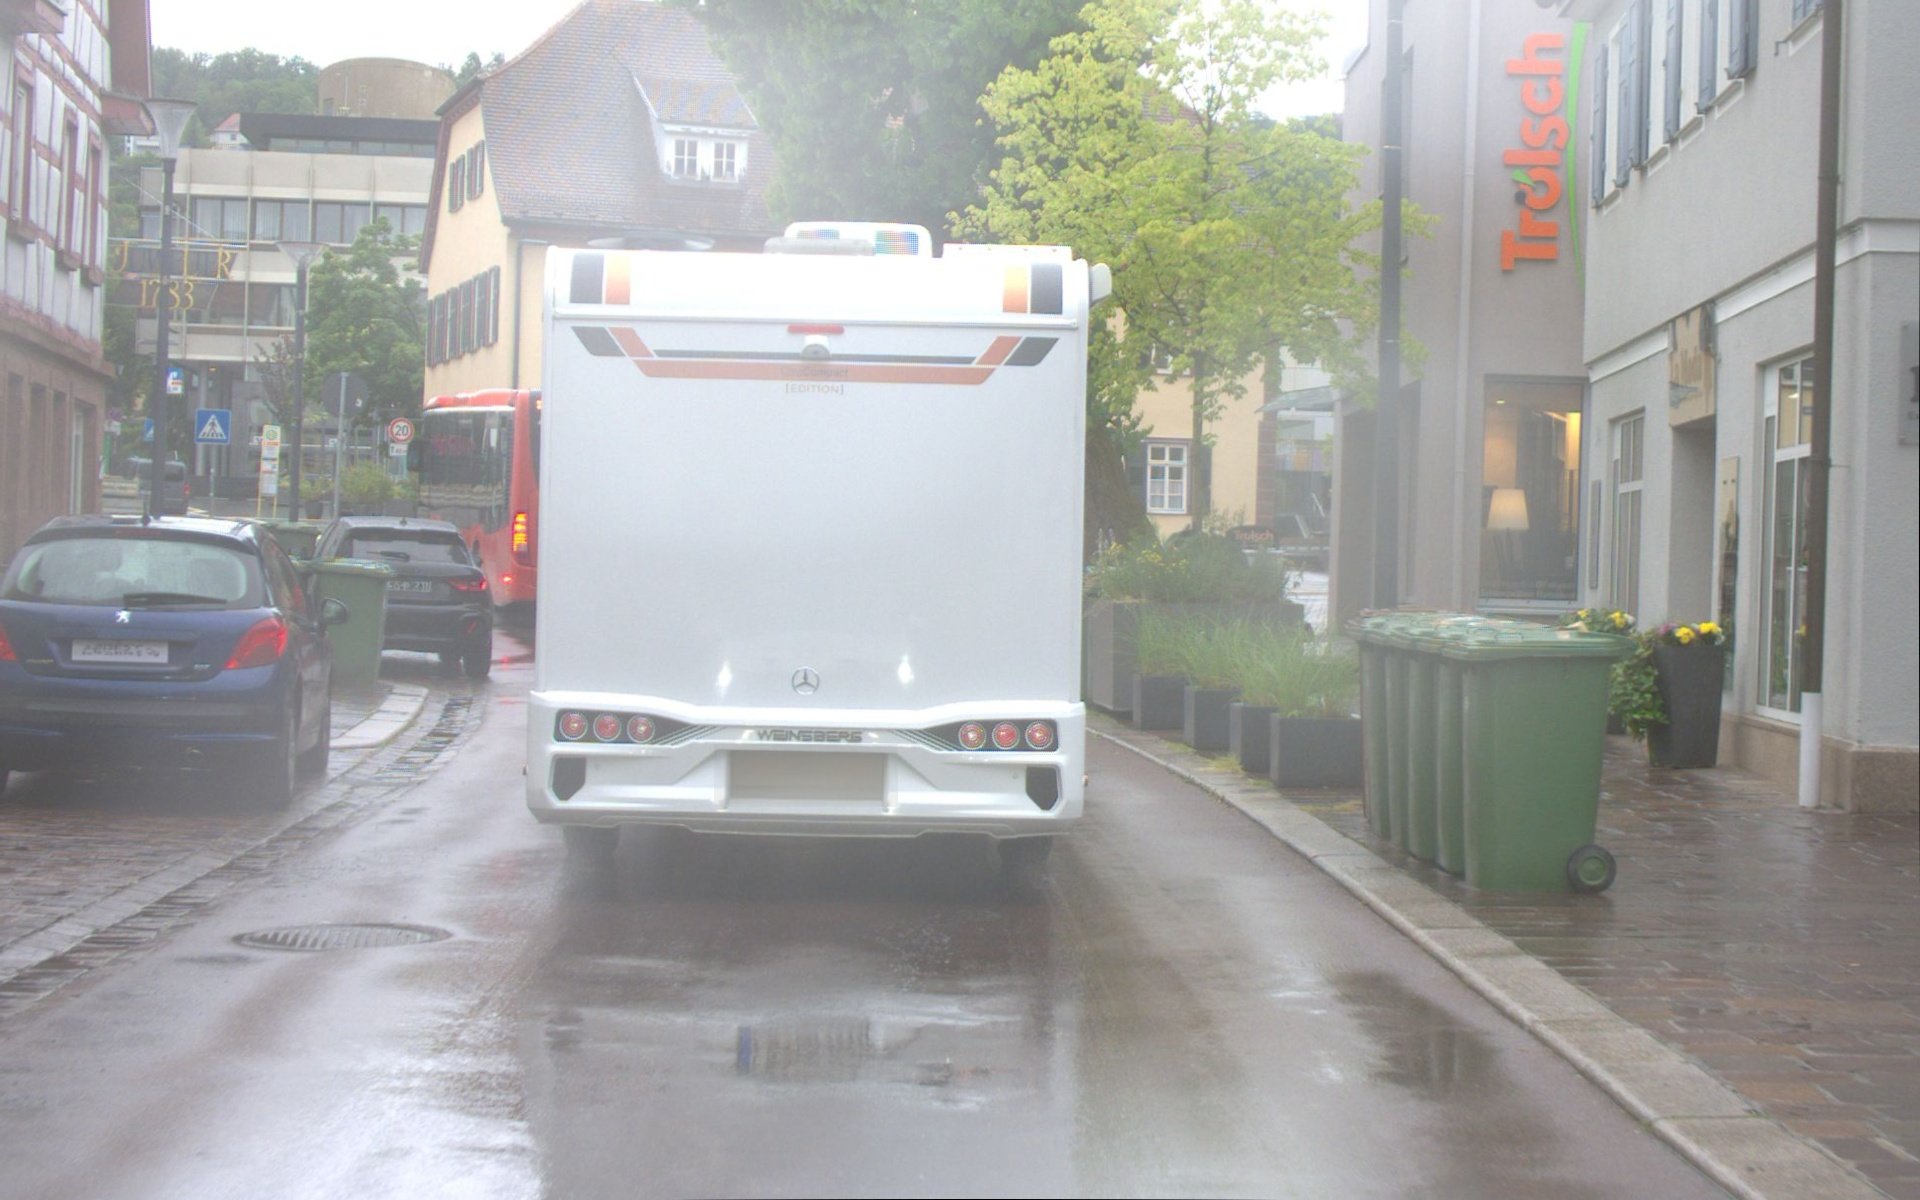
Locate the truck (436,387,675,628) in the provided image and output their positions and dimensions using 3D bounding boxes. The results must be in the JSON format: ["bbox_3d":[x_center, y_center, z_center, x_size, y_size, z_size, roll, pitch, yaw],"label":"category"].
[{"bbox_3d":[-5.473,-1.170,45.709,2.461,2.929,6.200,1,0,-13],"label":"truck"}]

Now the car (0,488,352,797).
[{"bbox_3d":[-4.519,0.153,18.923,1.993,1.467,4.001,2,1,-6],"label":"car"}]

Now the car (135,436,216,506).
[{"bbox_3d":[-24.265,-3.972,106.240,1.993,2.007,4.001,1,0,-19],"label":"car"}]

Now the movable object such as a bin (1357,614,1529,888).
[{"bbox_3d":[2.236,0.690,15.951,0.678,1.228,0.565,1,0,-1],"label":"movable object such as a bin"}]

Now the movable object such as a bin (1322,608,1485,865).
[{"bbox_3d":[2.208,0.667,17.180,0.678,1.236,0.731,1,0,-1],"label":"movable object such as a bin"}]

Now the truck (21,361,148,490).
[{"bbox_3d":[-20.486,-4.016,80.270,2.279,2.748,5.570,1,0,-20],"label":"truck"}]

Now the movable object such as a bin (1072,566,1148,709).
[{"bbox_3d":[1.237,0.306,28.437,0.543,1.152,0.577,1,0,-4],"label":"movable object such as a bin"}]

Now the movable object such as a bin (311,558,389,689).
[{"bbox_3d":[-5.284,0.201,29.794,0.630,1.109,0.734,1,0,-9],"label":"movable object such as a bin"}]

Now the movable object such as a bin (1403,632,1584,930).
[{"bbox_3d":[2.294,0.770,14.832,0.658,1.241,0.543,1,0,-1],"label":"movable object such as a bin"}]

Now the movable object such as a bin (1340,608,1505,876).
[{"bbox_3d":[2.215,0.674,16.526,0.678,1.246,0.565,1,0,-1],"label":"movable object such as a bin"}]

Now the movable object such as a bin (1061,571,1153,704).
[{"bbox_3d":[1.242,0.314,29.057,0.692,1.098,0.562,1,0,-4],"label":"movable object such as a bin"}]

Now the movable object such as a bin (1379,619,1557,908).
[{"bbox_3d":[2.267,0.721,15.387,0.678,1.252,0.543,1,0,-1],"label":"movable object such as a bin"}]

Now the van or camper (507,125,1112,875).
[{"bbox_3d":[-0.788,-0.407,16.805,2.325,2.909,6.394,1,0,-4],"label":"van or camper"}]

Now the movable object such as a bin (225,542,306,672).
[{"bbox_3d":[-5.984,0.057,29.655,0.630,1.048,0.734,1,4,-9],"label":"movable object such as a bin"}]

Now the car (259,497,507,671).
[{"bbox_3d":[-5.754,-0.203,33.927,1.993,1.489,4.002,3,1,-15],"label":"car"}]

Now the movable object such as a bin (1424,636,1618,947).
[{"bbox_3d":[2.317,0.780,14.246,0.658,1.234,0.621,1,0,-1],"label":"movable object such as a bin"}]

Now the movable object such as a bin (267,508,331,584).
[{"bbox_3d":[-9.444,-0.771,49.102,0.818,1.047,0.700,1,0,-16],"label":"movable object such as a bin"}]
